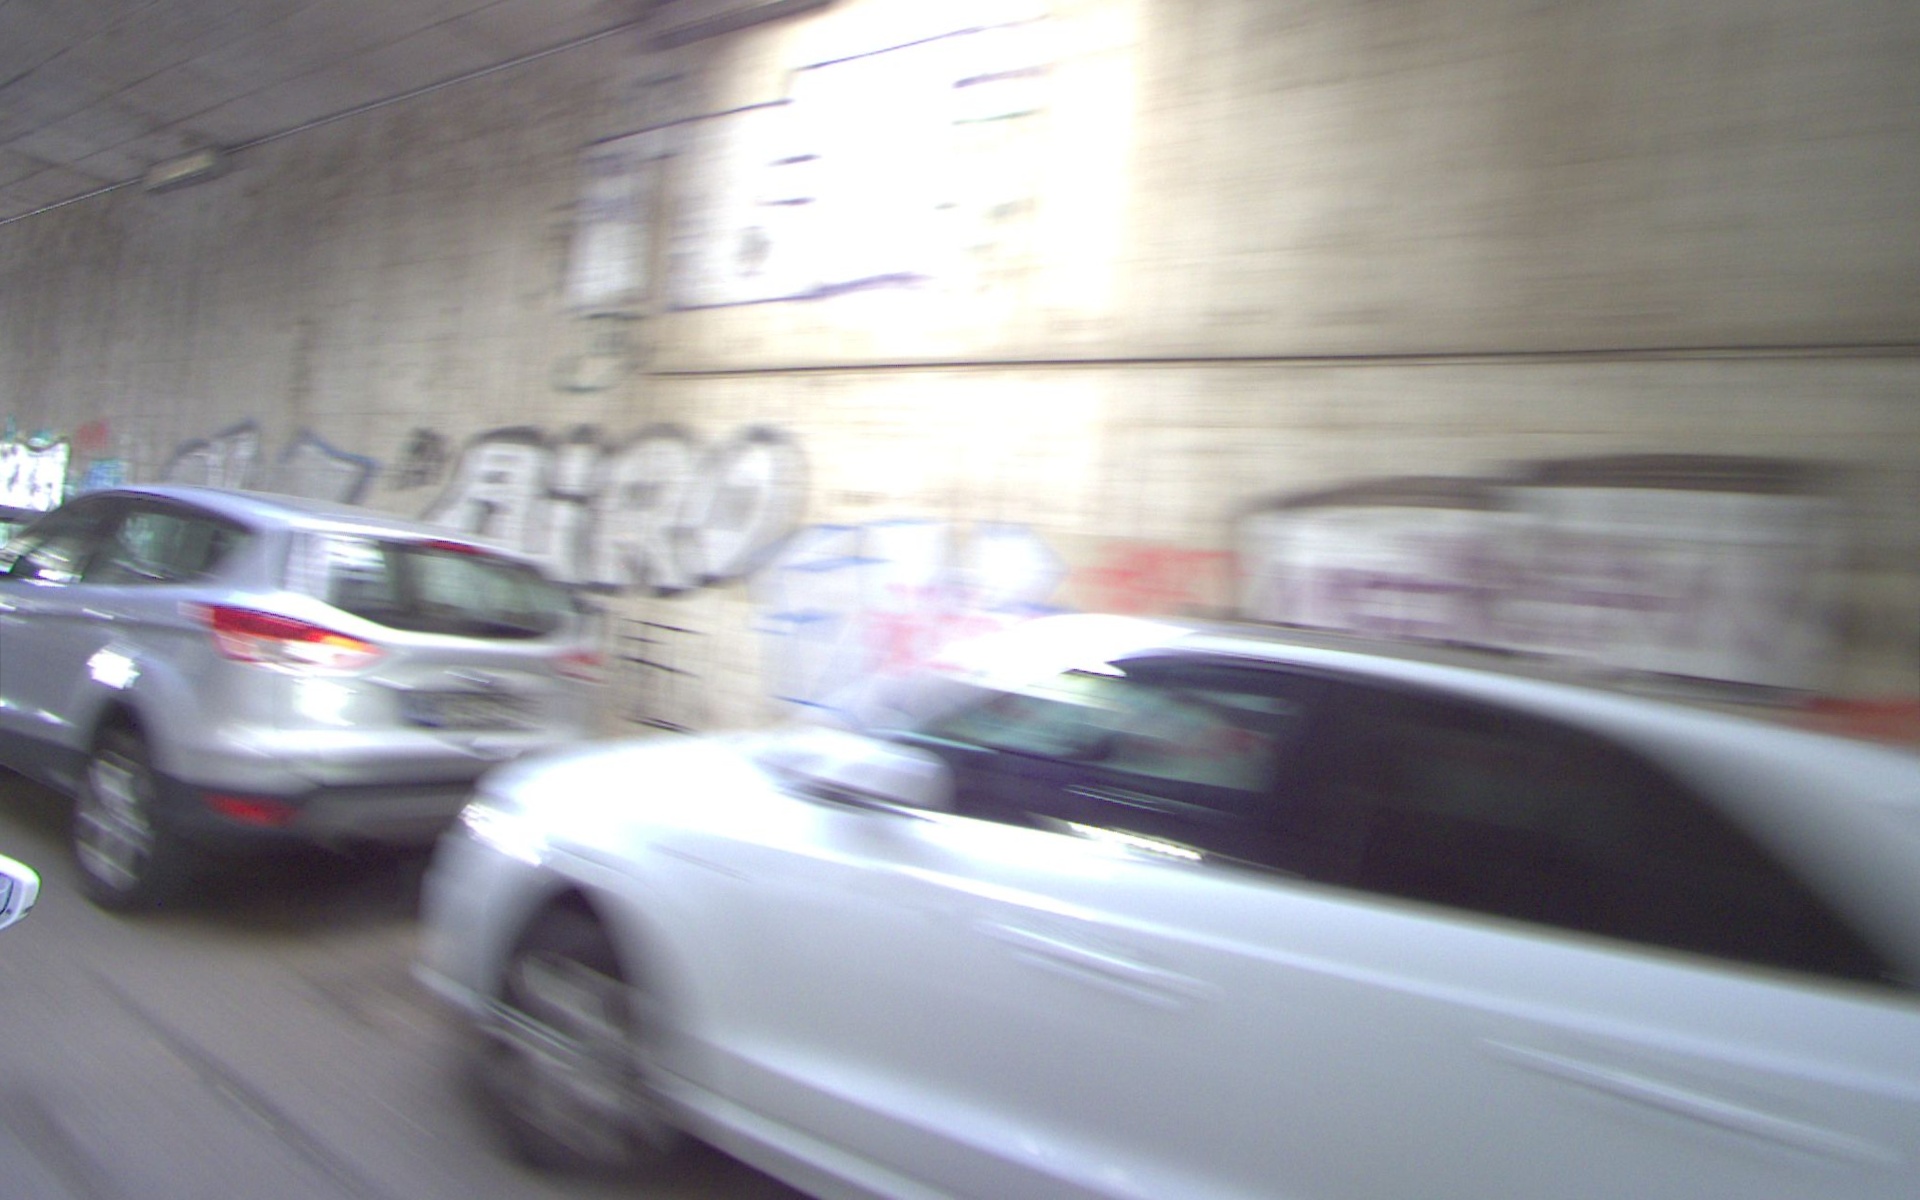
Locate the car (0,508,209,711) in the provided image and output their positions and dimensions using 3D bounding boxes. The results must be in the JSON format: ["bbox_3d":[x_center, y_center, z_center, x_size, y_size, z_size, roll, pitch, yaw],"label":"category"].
[{"bbox_3d":[-8.330,-0.097,8.412,4.301,1.390,1.704,7,-1,31],"label":"car"}]

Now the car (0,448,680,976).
[{"bbox_3d":[-3.762,0.260,5.242,4.298,1.686,1.856,7,-1,31],"label":"car"}]

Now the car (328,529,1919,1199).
[{"bbox_3d":[0.453,0.831,2.672,4.084,1.564,1.733,6,-1,29],"label":"car"}]
